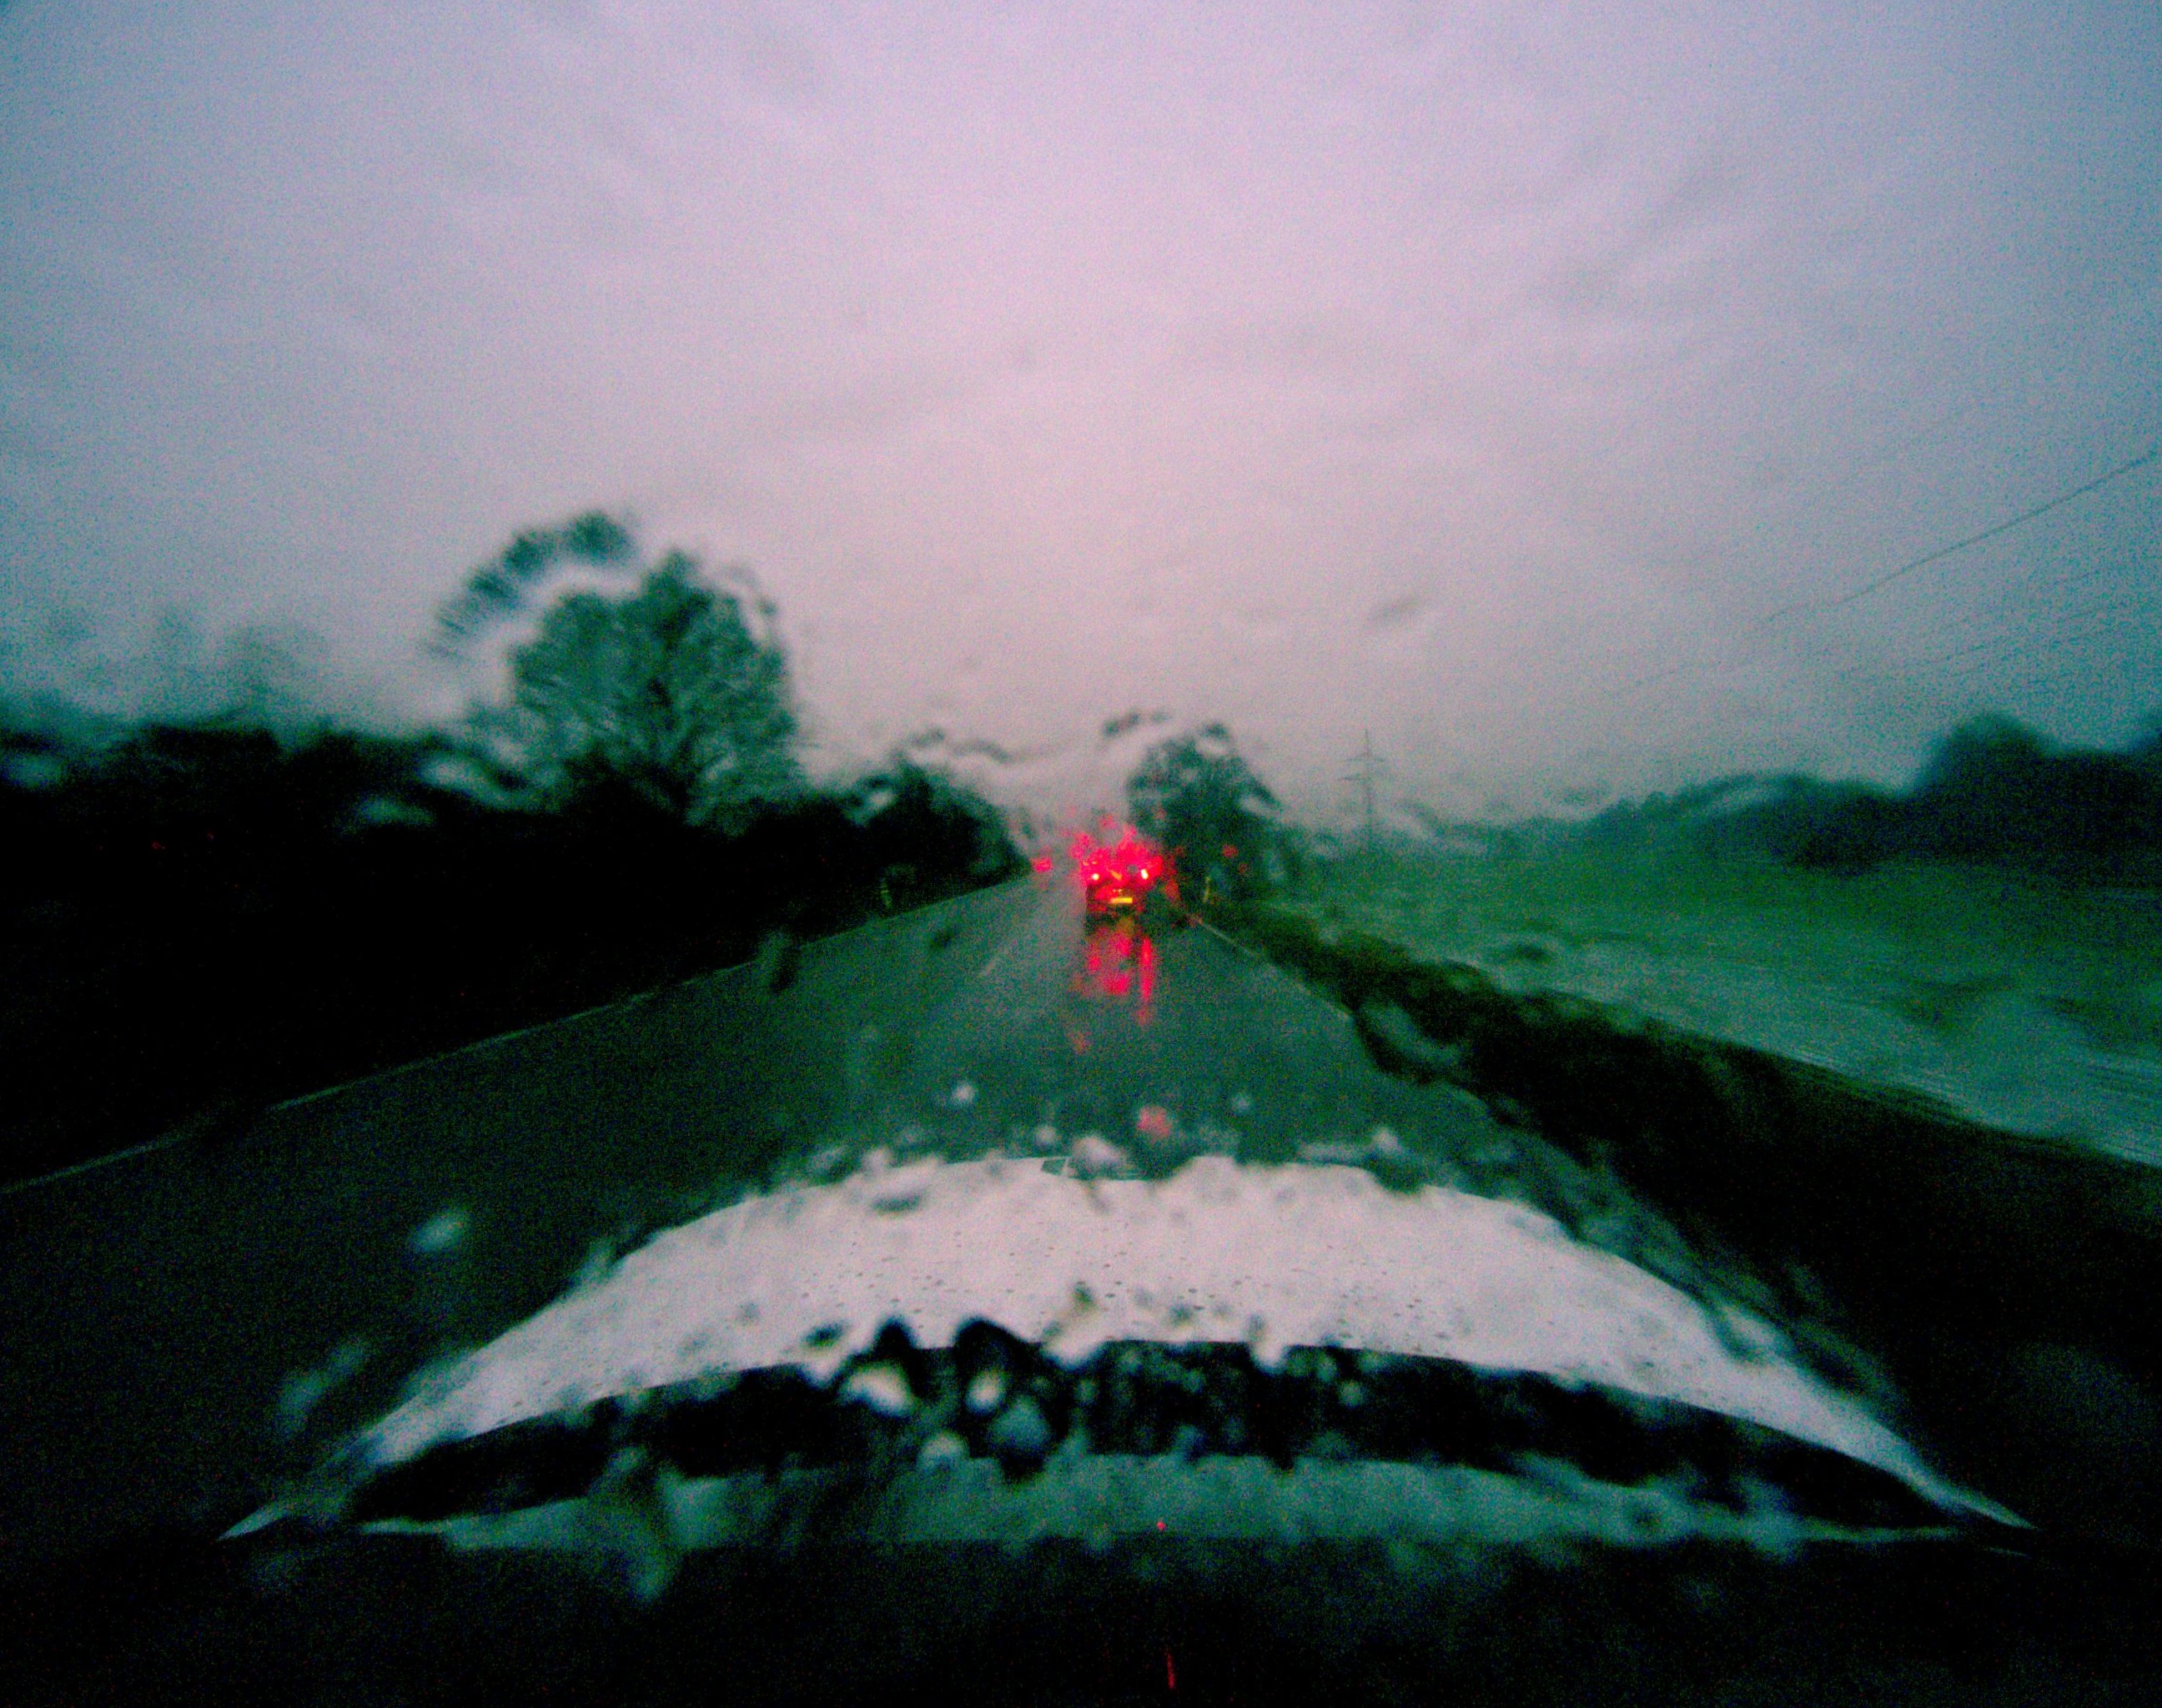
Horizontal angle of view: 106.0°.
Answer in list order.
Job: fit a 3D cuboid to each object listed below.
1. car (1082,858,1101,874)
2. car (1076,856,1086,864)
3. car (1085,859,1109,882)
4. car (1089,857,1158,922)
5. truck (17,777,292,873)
[{"bbox_3d":[0.941,1.040,72.157,1.540,1.397,3.872,-1,0,3],"label":"car"},{"bbox_3d":[0.048,1.029,141.406,1.541,1.397,3.871,-1,0,2],"label":"car"},{"bbox_3d":[1.040,1.053,52.873,1.541,1.397,3.870,-1,0,1],"label":"car"},{"bbox_3d":[1.136,0.839,21.063,1.595,1.522,3.873,-1,0,4],"label":"car"},{"bbox_3d":[-25.337,-0.706,22.627,1.985,2.343,4.832,-1,0,2],"label":"truck"}]
